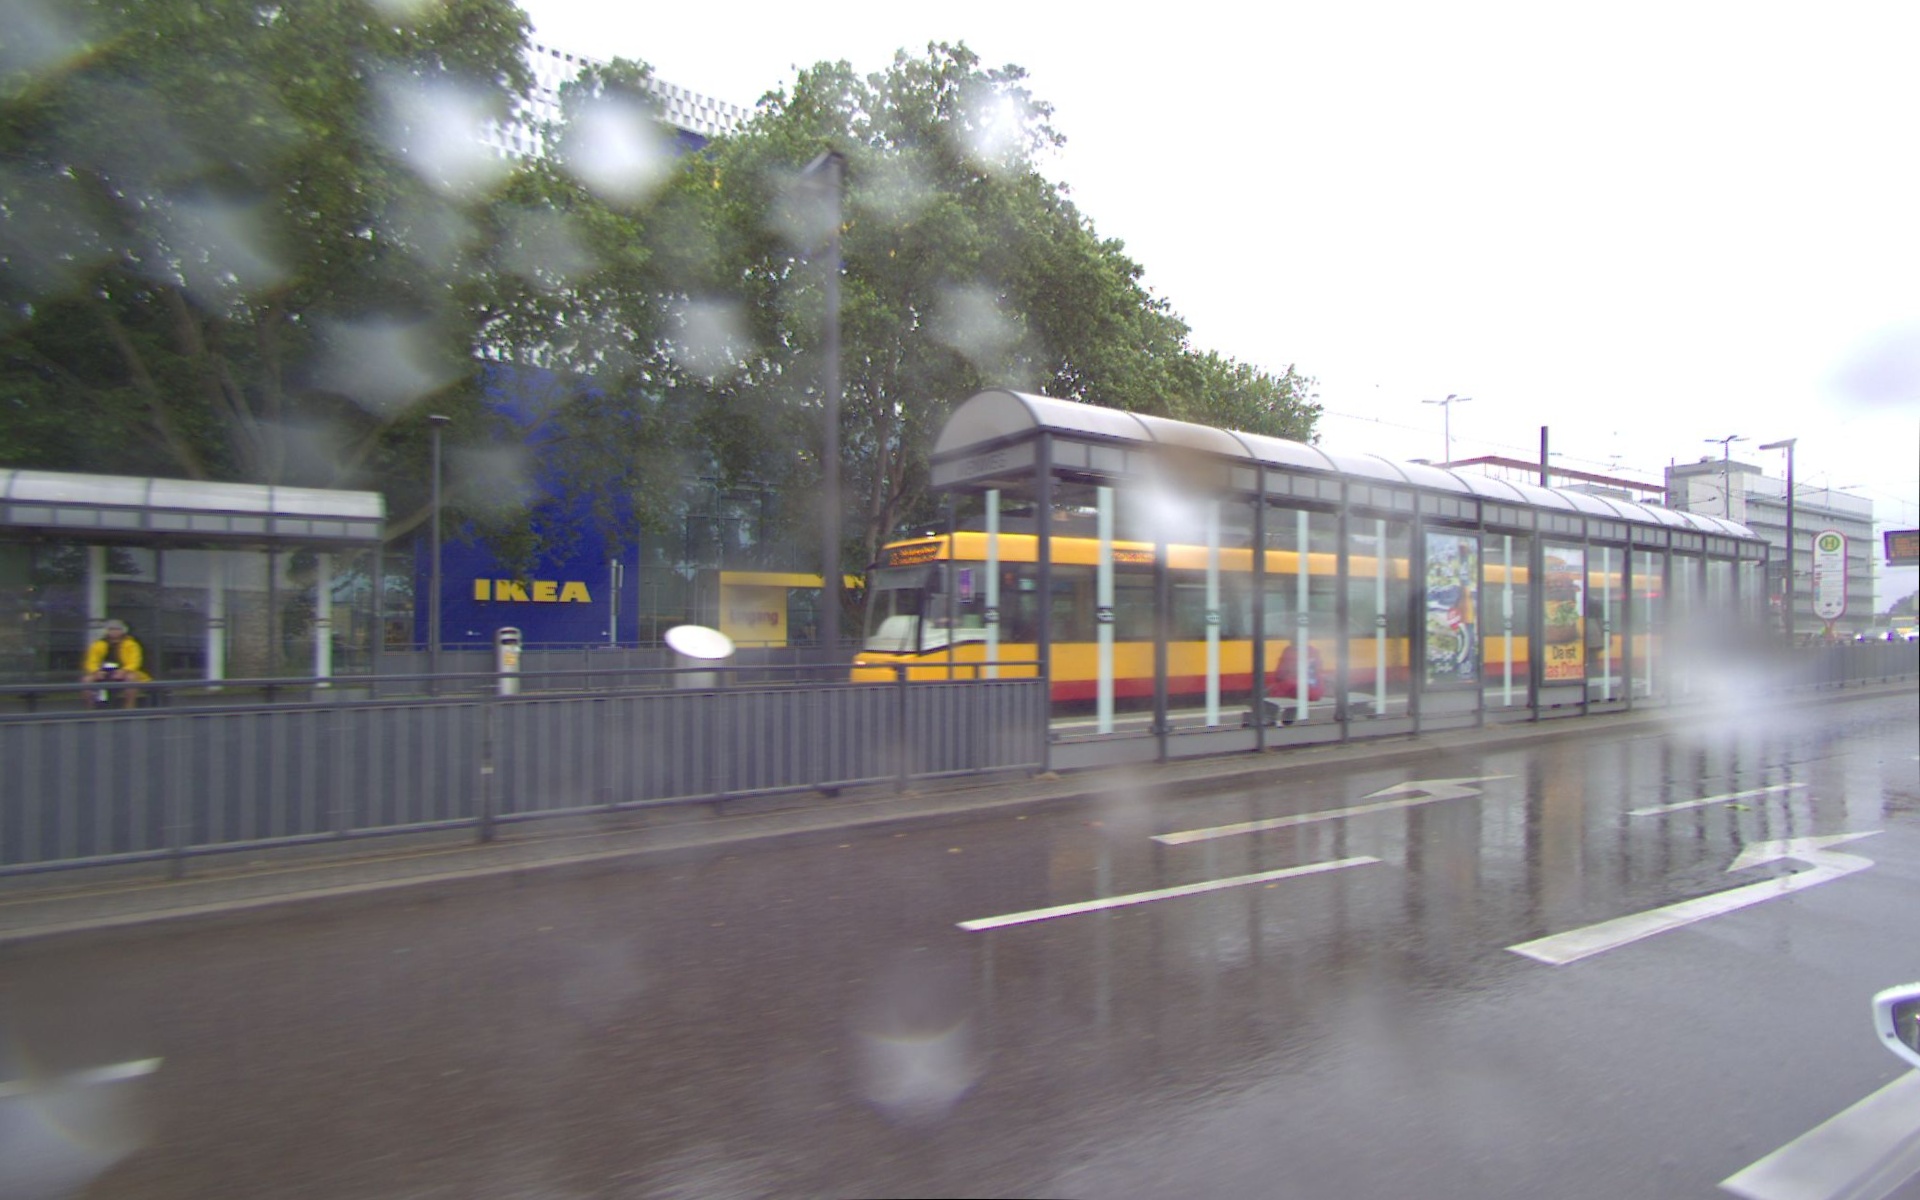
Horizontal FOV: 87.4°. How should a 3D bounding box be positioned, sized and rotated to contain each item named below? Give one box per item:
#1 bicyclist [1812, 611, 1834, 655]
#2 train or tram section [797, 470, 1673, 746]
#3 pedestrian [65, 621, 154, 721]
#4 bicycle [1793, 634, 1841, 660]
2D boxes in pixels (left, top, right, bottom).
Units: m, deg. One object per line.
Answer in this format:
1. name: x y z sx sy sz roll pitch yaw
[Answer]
1. bicyclist: 40.488 1.552 47.132 0.546 2.040 0.689 1 0 -38
2. train or tram section: 9.194 0.313 24.020 26.813 4.090 3.746 1 0 -34
3. pedestrian: -11.752 0.956 13.906 0.804 1.320 0.640 1 0 -28
4. bicycle: 40.347 2.215 47.312 0.590 1.204 1.642 3 -3 -37
